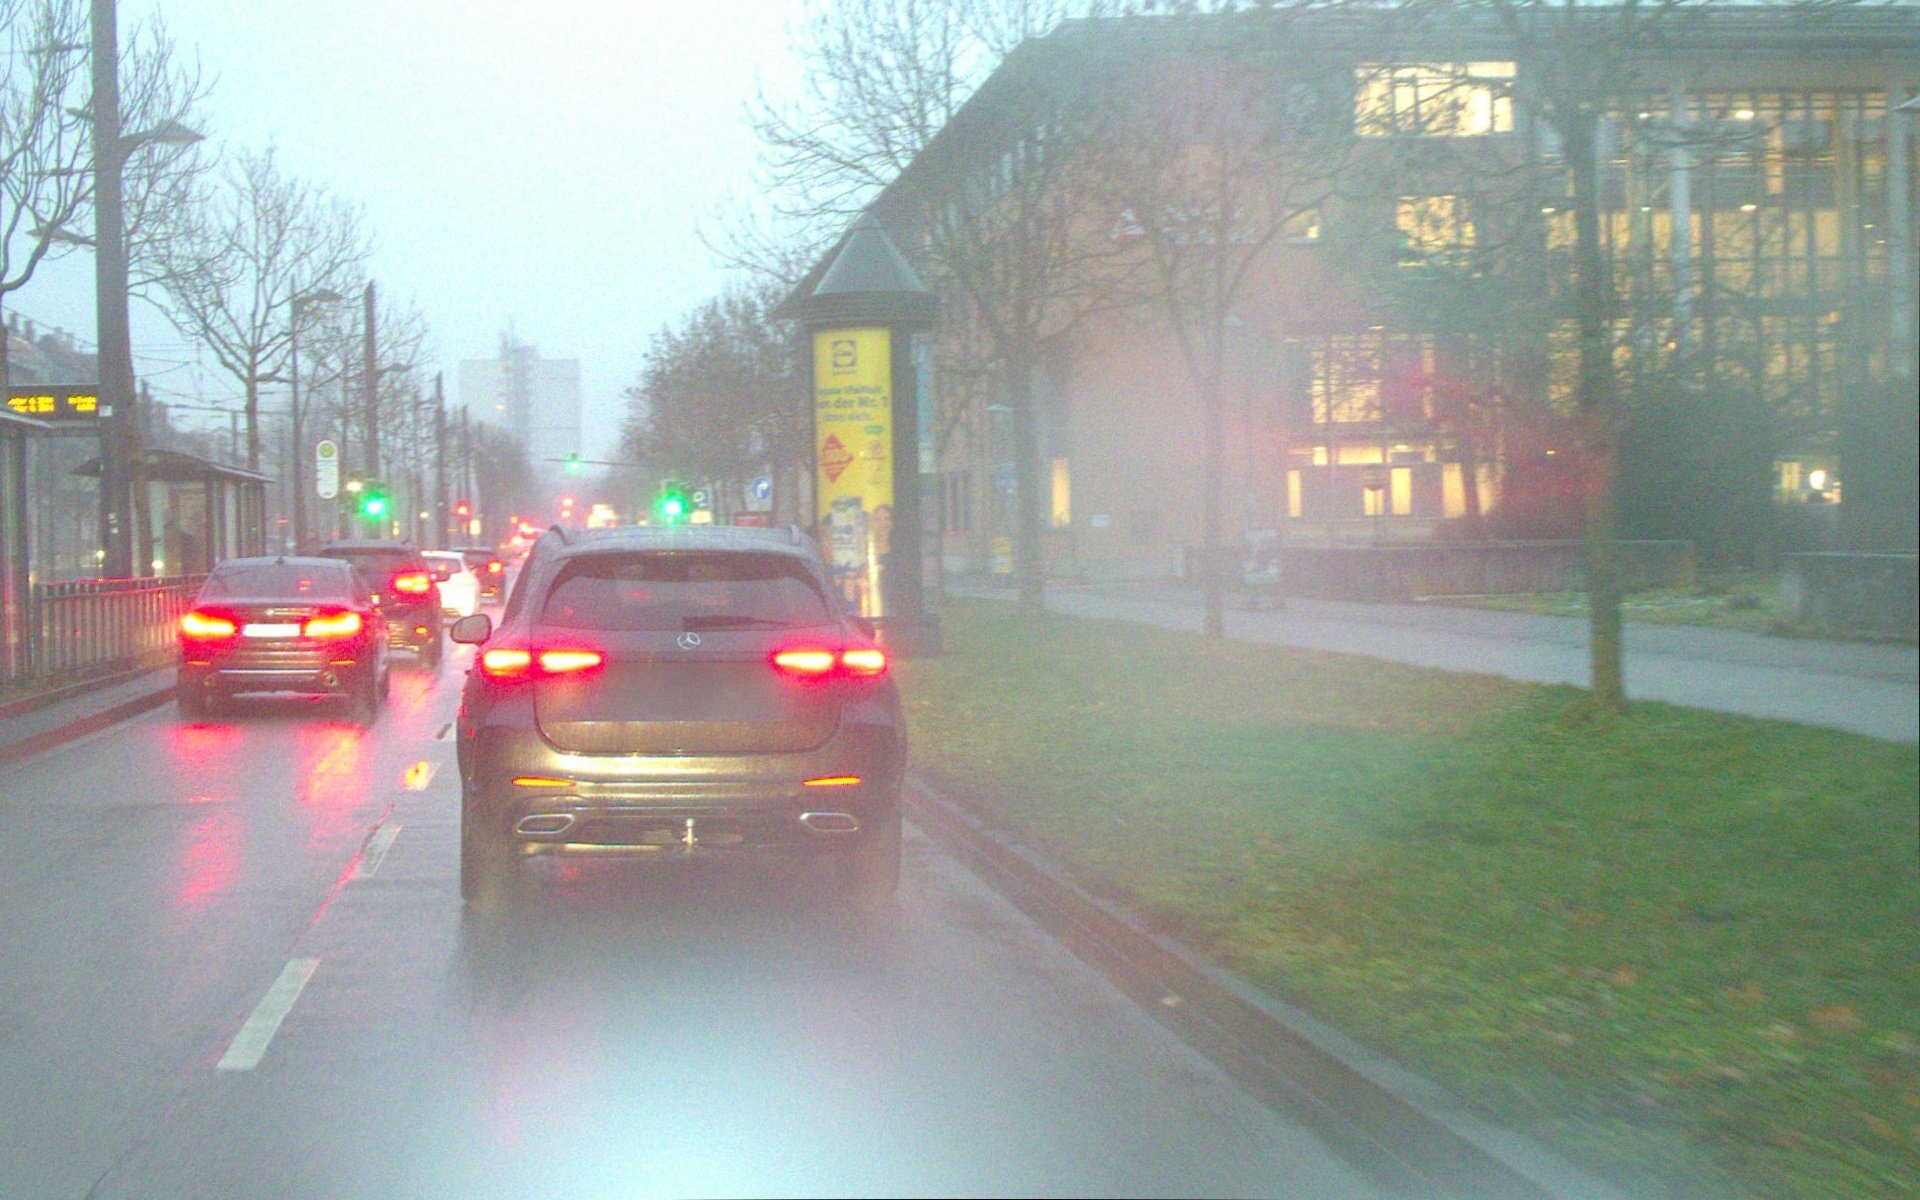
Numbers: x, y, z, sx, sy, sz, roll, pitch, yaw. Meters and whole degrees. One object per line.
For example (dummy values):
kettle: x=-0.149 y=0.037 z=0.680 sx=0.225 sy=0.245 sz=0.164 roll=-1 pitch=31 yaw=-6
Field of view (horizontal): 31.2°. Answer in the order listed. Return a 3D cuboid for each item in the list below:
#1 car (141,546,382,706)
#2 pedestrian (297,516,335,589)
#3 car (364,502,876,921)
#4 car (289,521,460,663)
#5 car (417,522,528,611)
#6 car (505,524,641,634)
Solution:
car: x=-6.712 y=0.203 z=33.391 sx=1.993 sy=1.393 sz=4.001 roll=-2 pitch=1 yaw=-8
pedestrian: x=-13.965 y=-1.038 z=74.577 sx=0.698 sy=1.547 sz=0.669 roll=-2 pitch=1 yaw=-6
car: x=-1.533 y=0.398 z=15.720 sx=1.990 sy=1.610 sz=4.001 roll=-2 pitch=1 yaw=-5
car: x=-7.763 y=-0.145 z=45.894 sx=1.993 sy=1.759 sz=4.001 roll=-2 pitch=1 yaw=-7
car: x=-9.381 y=-0.670 z=66.375 sx=1.993 sy=1.612 sz=4.001 roll=-2 pitch=1 yaw=-7
car: x=-6.095 y=-0.356 z=53.941 sx=1.993 sy=1.612 sz=4.001 roll=-2 pitch=1 yaw=-7
